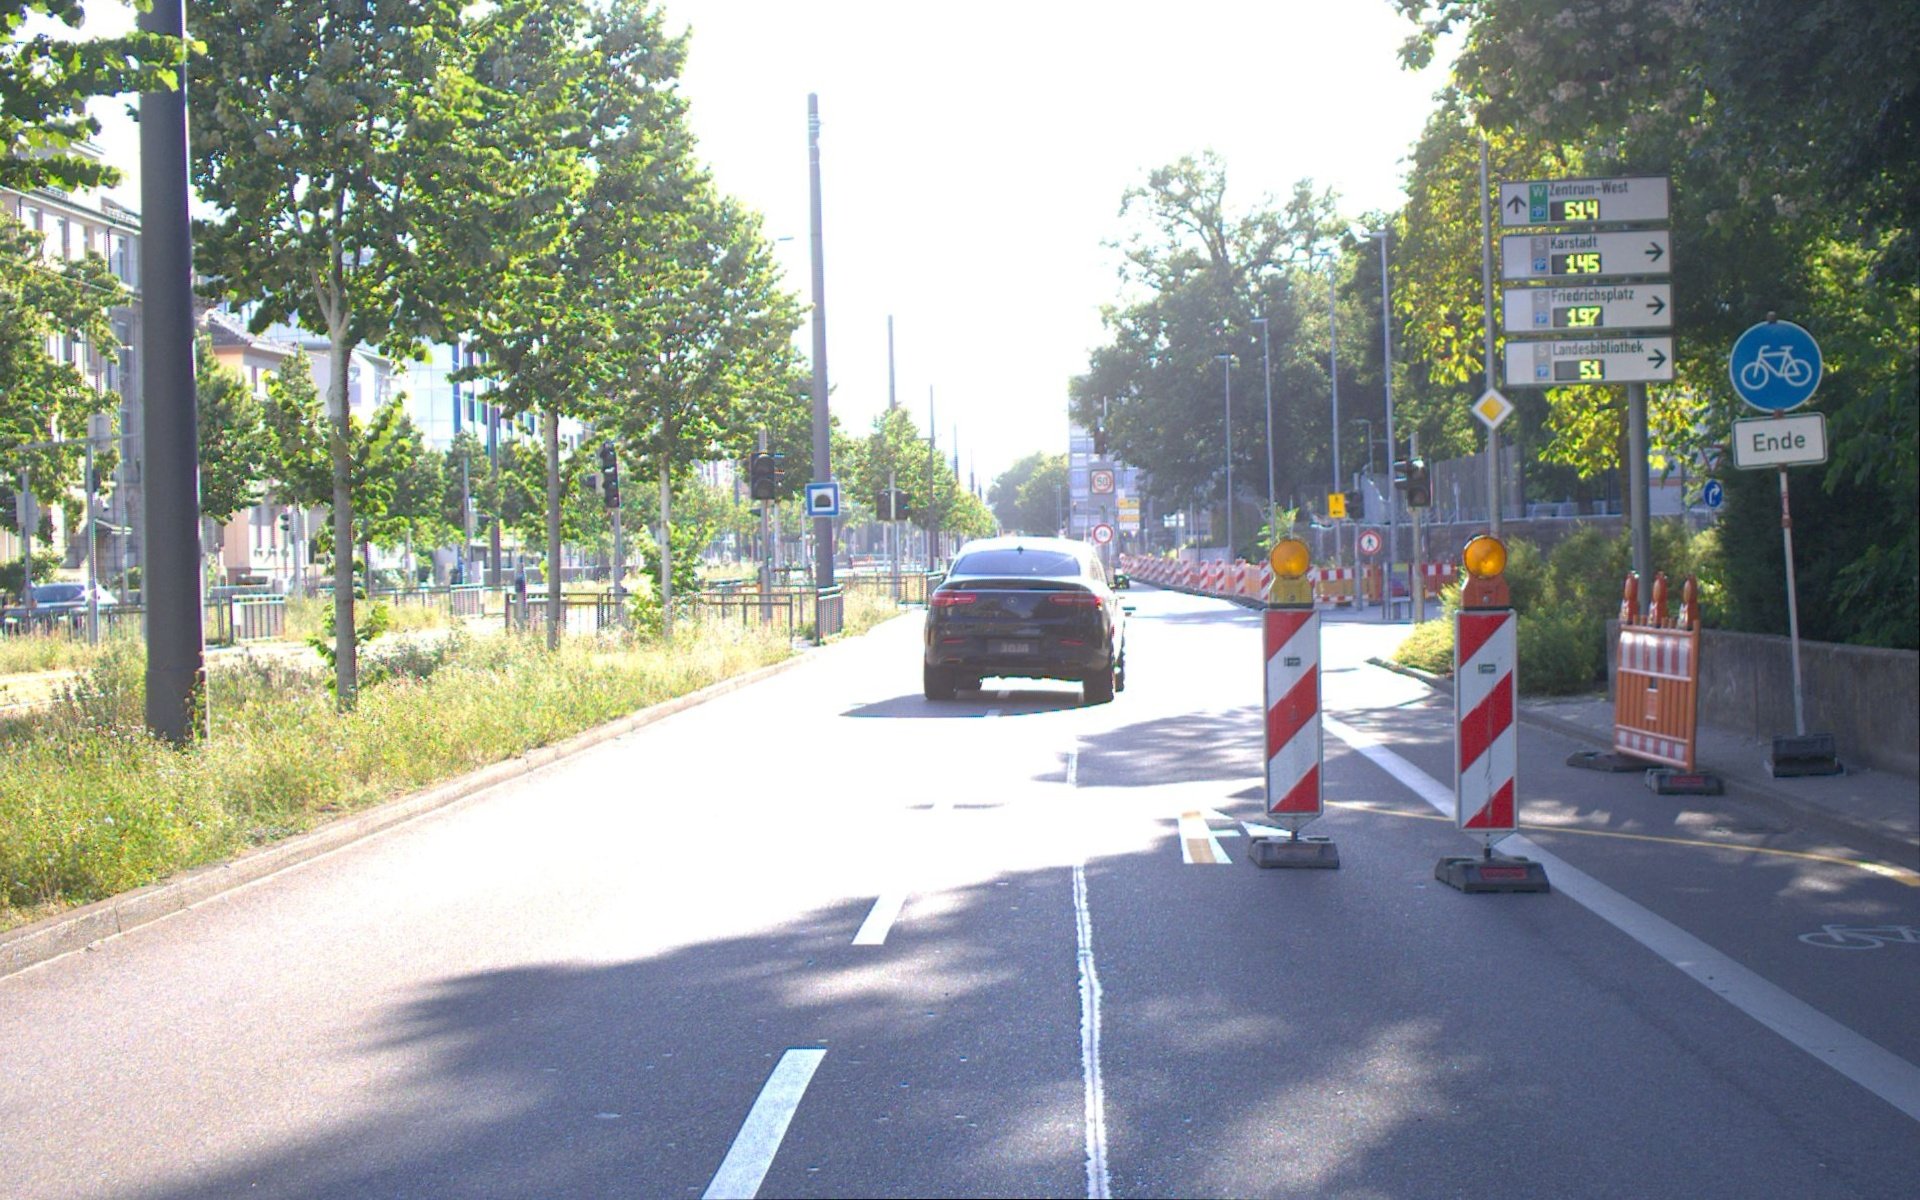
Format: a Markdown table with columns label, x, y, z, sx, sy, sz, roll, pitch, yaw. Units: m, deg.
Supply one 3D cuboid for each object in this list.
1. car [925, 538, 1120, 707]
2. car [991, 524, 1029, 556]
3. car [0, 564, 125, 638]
| label | x | y | z | sx | sy | sz | roll | pitch | yaw |
| --- | --- | --- | --- | --- | --- | --- | --- | --- | --- |
| car | 0.673 | 0.197 | 37.454 | 1.993 | 1.728 | 4.000 | 0 | 1 | 1 |
| car | 2.595 | -3.122 | 177.971 | 1.886 | 1.575 | 4.000 | 0 | 2 | 1 |
| car | -21.080 | 0.001 | 80.630 | 1.884 | 1.634 | 4.000 | -2 | 1 | 2 |
